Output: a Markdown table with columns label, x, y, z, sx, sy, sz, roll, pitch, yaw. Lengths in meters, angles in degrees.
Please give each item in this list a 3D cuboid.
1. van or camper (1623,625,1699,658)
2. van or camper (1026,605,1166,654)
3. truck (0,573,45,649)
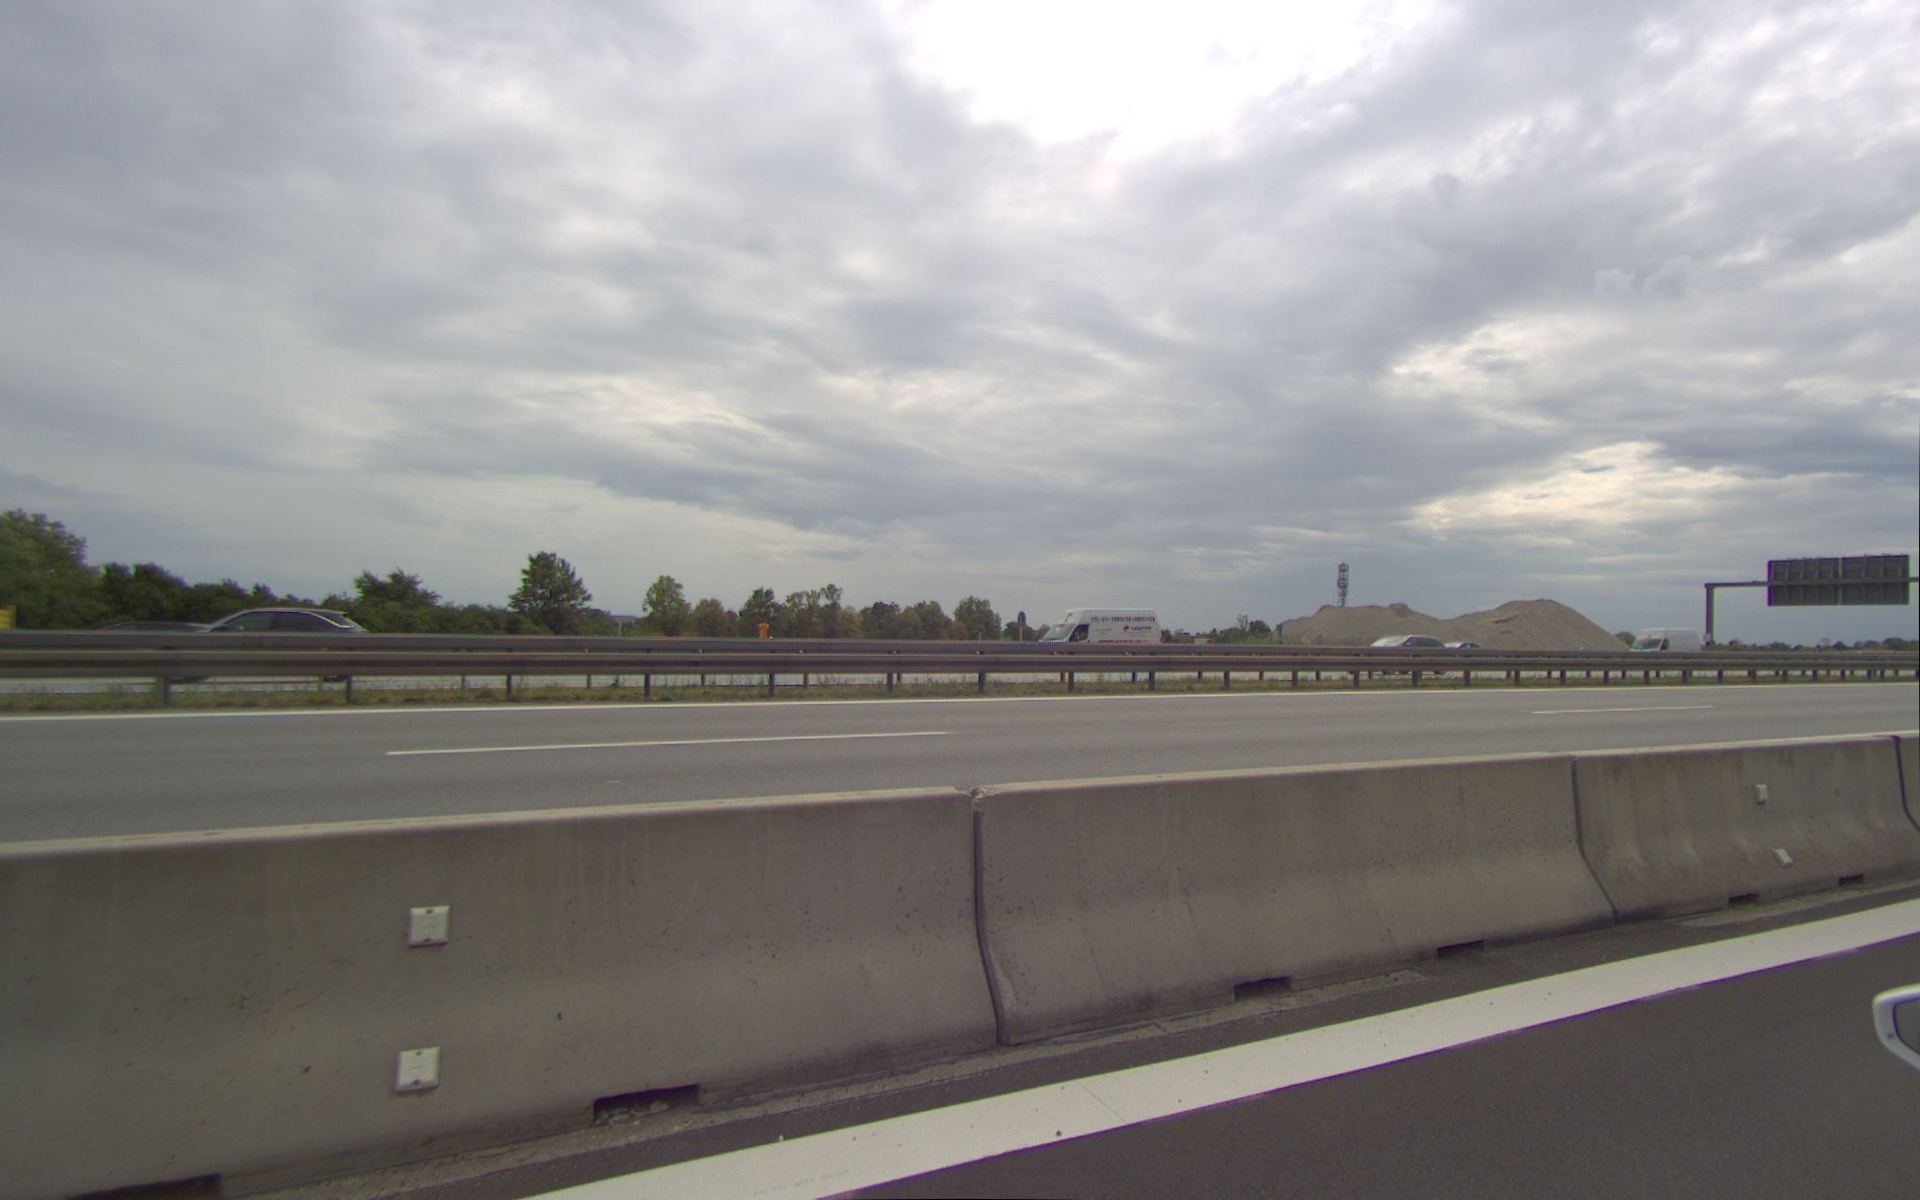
| label | x | y | z | sx | sy | sz | roll | pitch | yaw |
| --- | --- | --- | --- | --- | --- | --- | --- | --- | --- |
| van or camper | 49.615 | 2.955 | 71.065 | 5.740 | 2.200 | 2.177 | 2 | -1 | -29 |
| van or camper | 6.204 | 1.337 | 45.404 | 6.205 | 2.040 | 2.224 | 2 | -1 | -30 |
| truck | -38.297 | 0.295 | 35.215 | 2.866 | 2.810 | 8.757 | 1 | -1 | 33 |
